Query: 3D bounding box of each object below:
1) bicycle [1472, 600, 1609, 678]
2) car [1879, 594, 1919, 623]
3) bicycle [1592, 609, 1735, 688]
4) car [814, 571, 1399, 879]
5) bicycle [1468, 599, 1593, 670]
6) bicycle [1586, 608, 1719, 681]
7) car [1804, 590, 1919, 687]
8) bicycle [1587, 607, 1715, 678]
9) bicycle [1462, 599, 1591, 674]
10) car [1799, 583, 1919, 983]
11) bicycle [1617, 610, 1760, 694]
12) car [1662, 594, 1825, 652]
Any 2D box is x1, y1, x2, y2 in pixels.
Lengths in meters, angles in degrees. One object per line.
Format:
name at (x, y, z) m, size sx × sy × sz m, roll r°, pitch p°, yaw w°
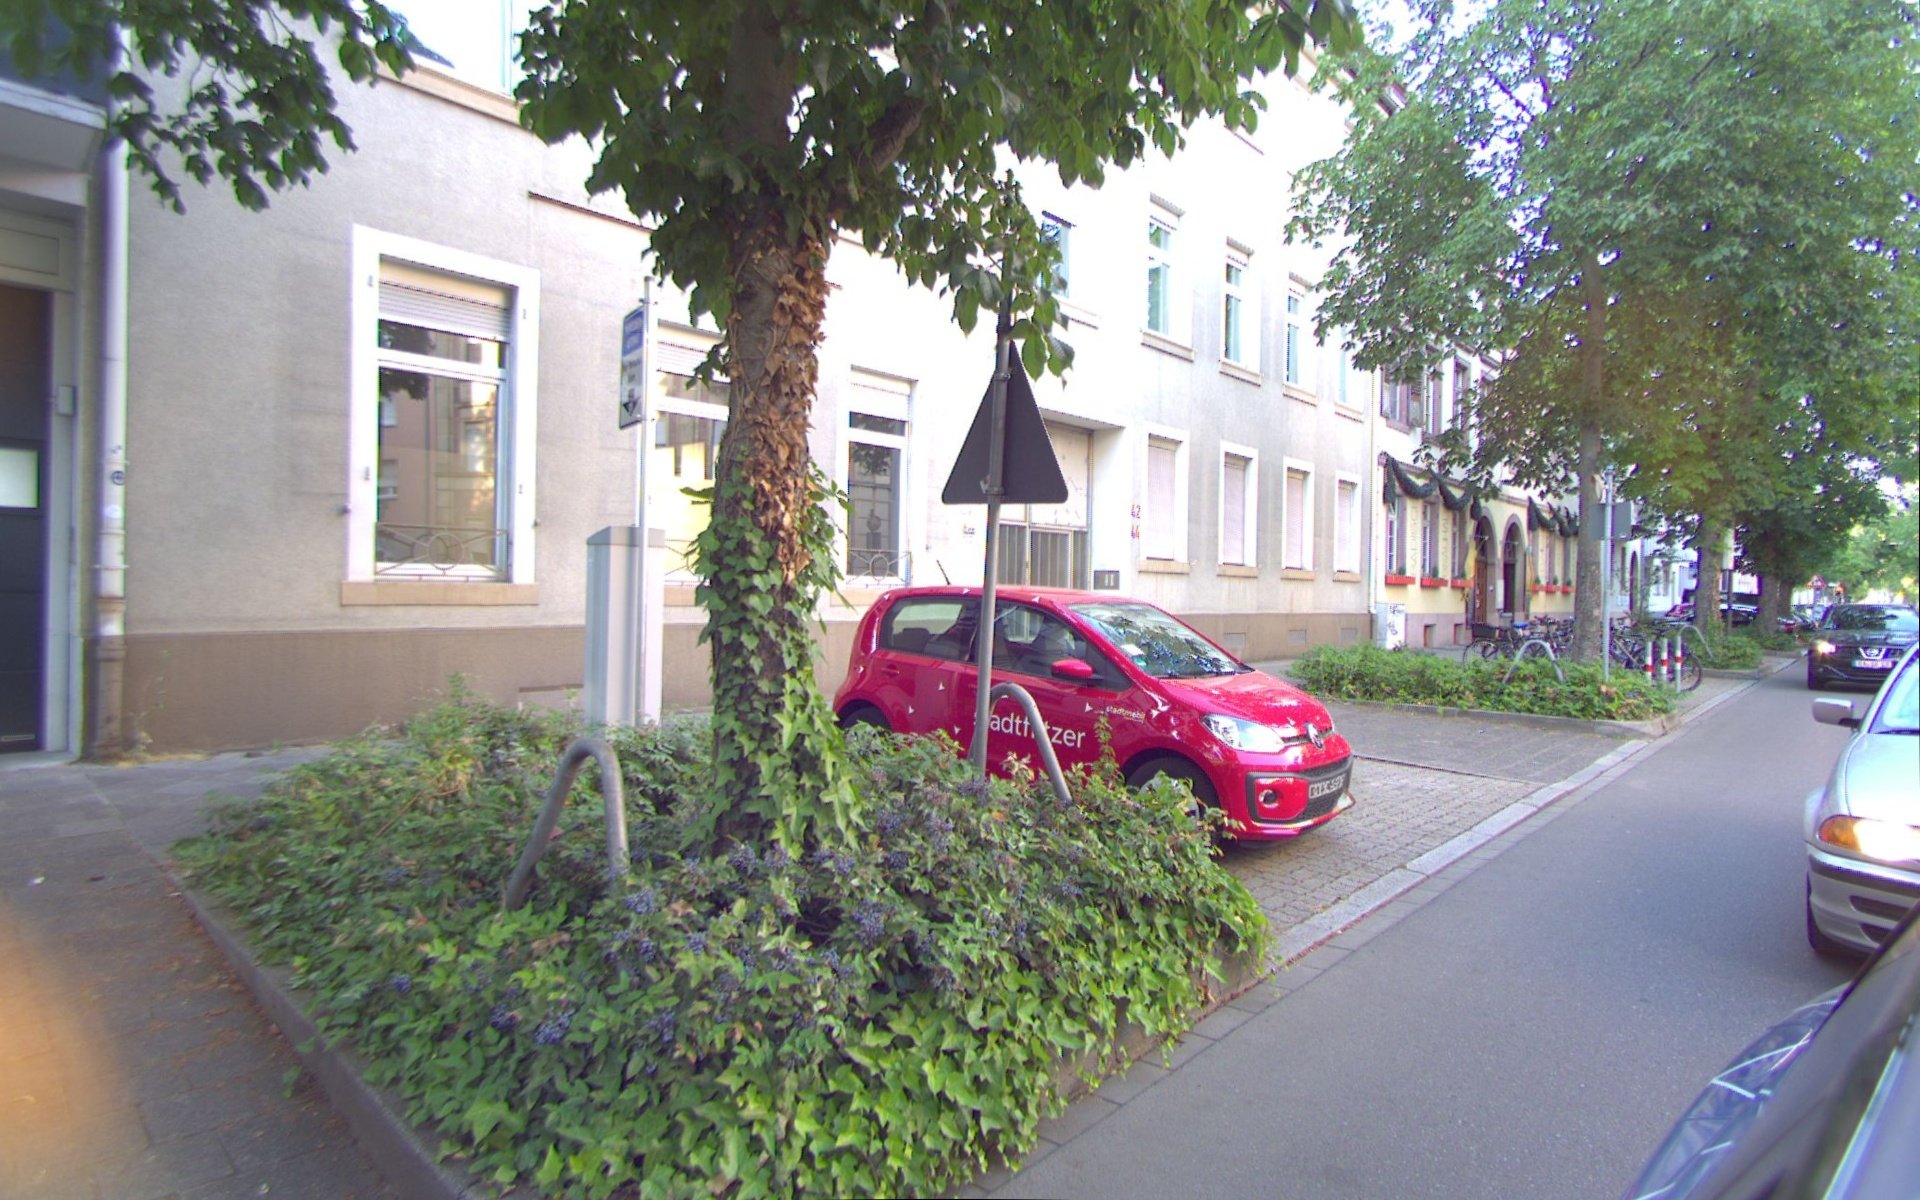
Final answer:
bicycle at (10.081, 0.648, 17.623) m, size 2.014 × 1.242 × 0.529 m, roll 2°, pitch 1°, yaw 33°
car at (52.848, 0.462, 56.701) m, size 1.802 × 1.571 × 3.936 m, roll 2°, pitch 1°, yaw 45°
bicycle at (12.352, 0.823, 17.821) m, size 2.019 × 1.242 × 0.528 m, roll 2°, pitch 1°, yaw 39°
car at (0.808, 0.579, 6.817) m, size 3.608 × 1.495 × 1.639 m, roll 2°, pitch 1°, yaw 42°
bicycle at (10.928, 0.627, 19.428) m, size 2.017 × 1.242 × 0.529 m, roll 2°, pitch 1°, yaw 37°
bicycle at (12.987, 0.808, 19.014) m, size 2.019 × 1.242 × 0.528 m, roll 2°, pitch 1°, yaw 39°
car at (16.858, 0.639, 18.543) m, size 1.802 × 1.571 × 3.935 m, roll 2°, pitch 1°, yaw 45°
bicycle at (13.468, 0.799, 19.768) m, size 2.019 × 1.242 × 0.528 m, roll 2°, pitch 1°, yaw 39°
bicycle at (10.297, 0.639, 18.433) m, size 2.014 × 1.242 × 0.529 m, roll 2°, pitch 1°, yaw 33°
car at (5.492, 0.681, 4.739) m, size 4.358 × 1.460 × 1.710 m, roll 0°, pitch 1°, yaw -41°
bicycle at (11.849, 0.822, 16.534) m, size 1.835 × 1.242 × 0.529 m, roll 2°, pitch 1°, yaw 33°
car at (26.609, 0.720, 34.455) m, size 4.232 × 1.761 × 1.715 m, roll 2°, pitch 1°, yaw 43°
